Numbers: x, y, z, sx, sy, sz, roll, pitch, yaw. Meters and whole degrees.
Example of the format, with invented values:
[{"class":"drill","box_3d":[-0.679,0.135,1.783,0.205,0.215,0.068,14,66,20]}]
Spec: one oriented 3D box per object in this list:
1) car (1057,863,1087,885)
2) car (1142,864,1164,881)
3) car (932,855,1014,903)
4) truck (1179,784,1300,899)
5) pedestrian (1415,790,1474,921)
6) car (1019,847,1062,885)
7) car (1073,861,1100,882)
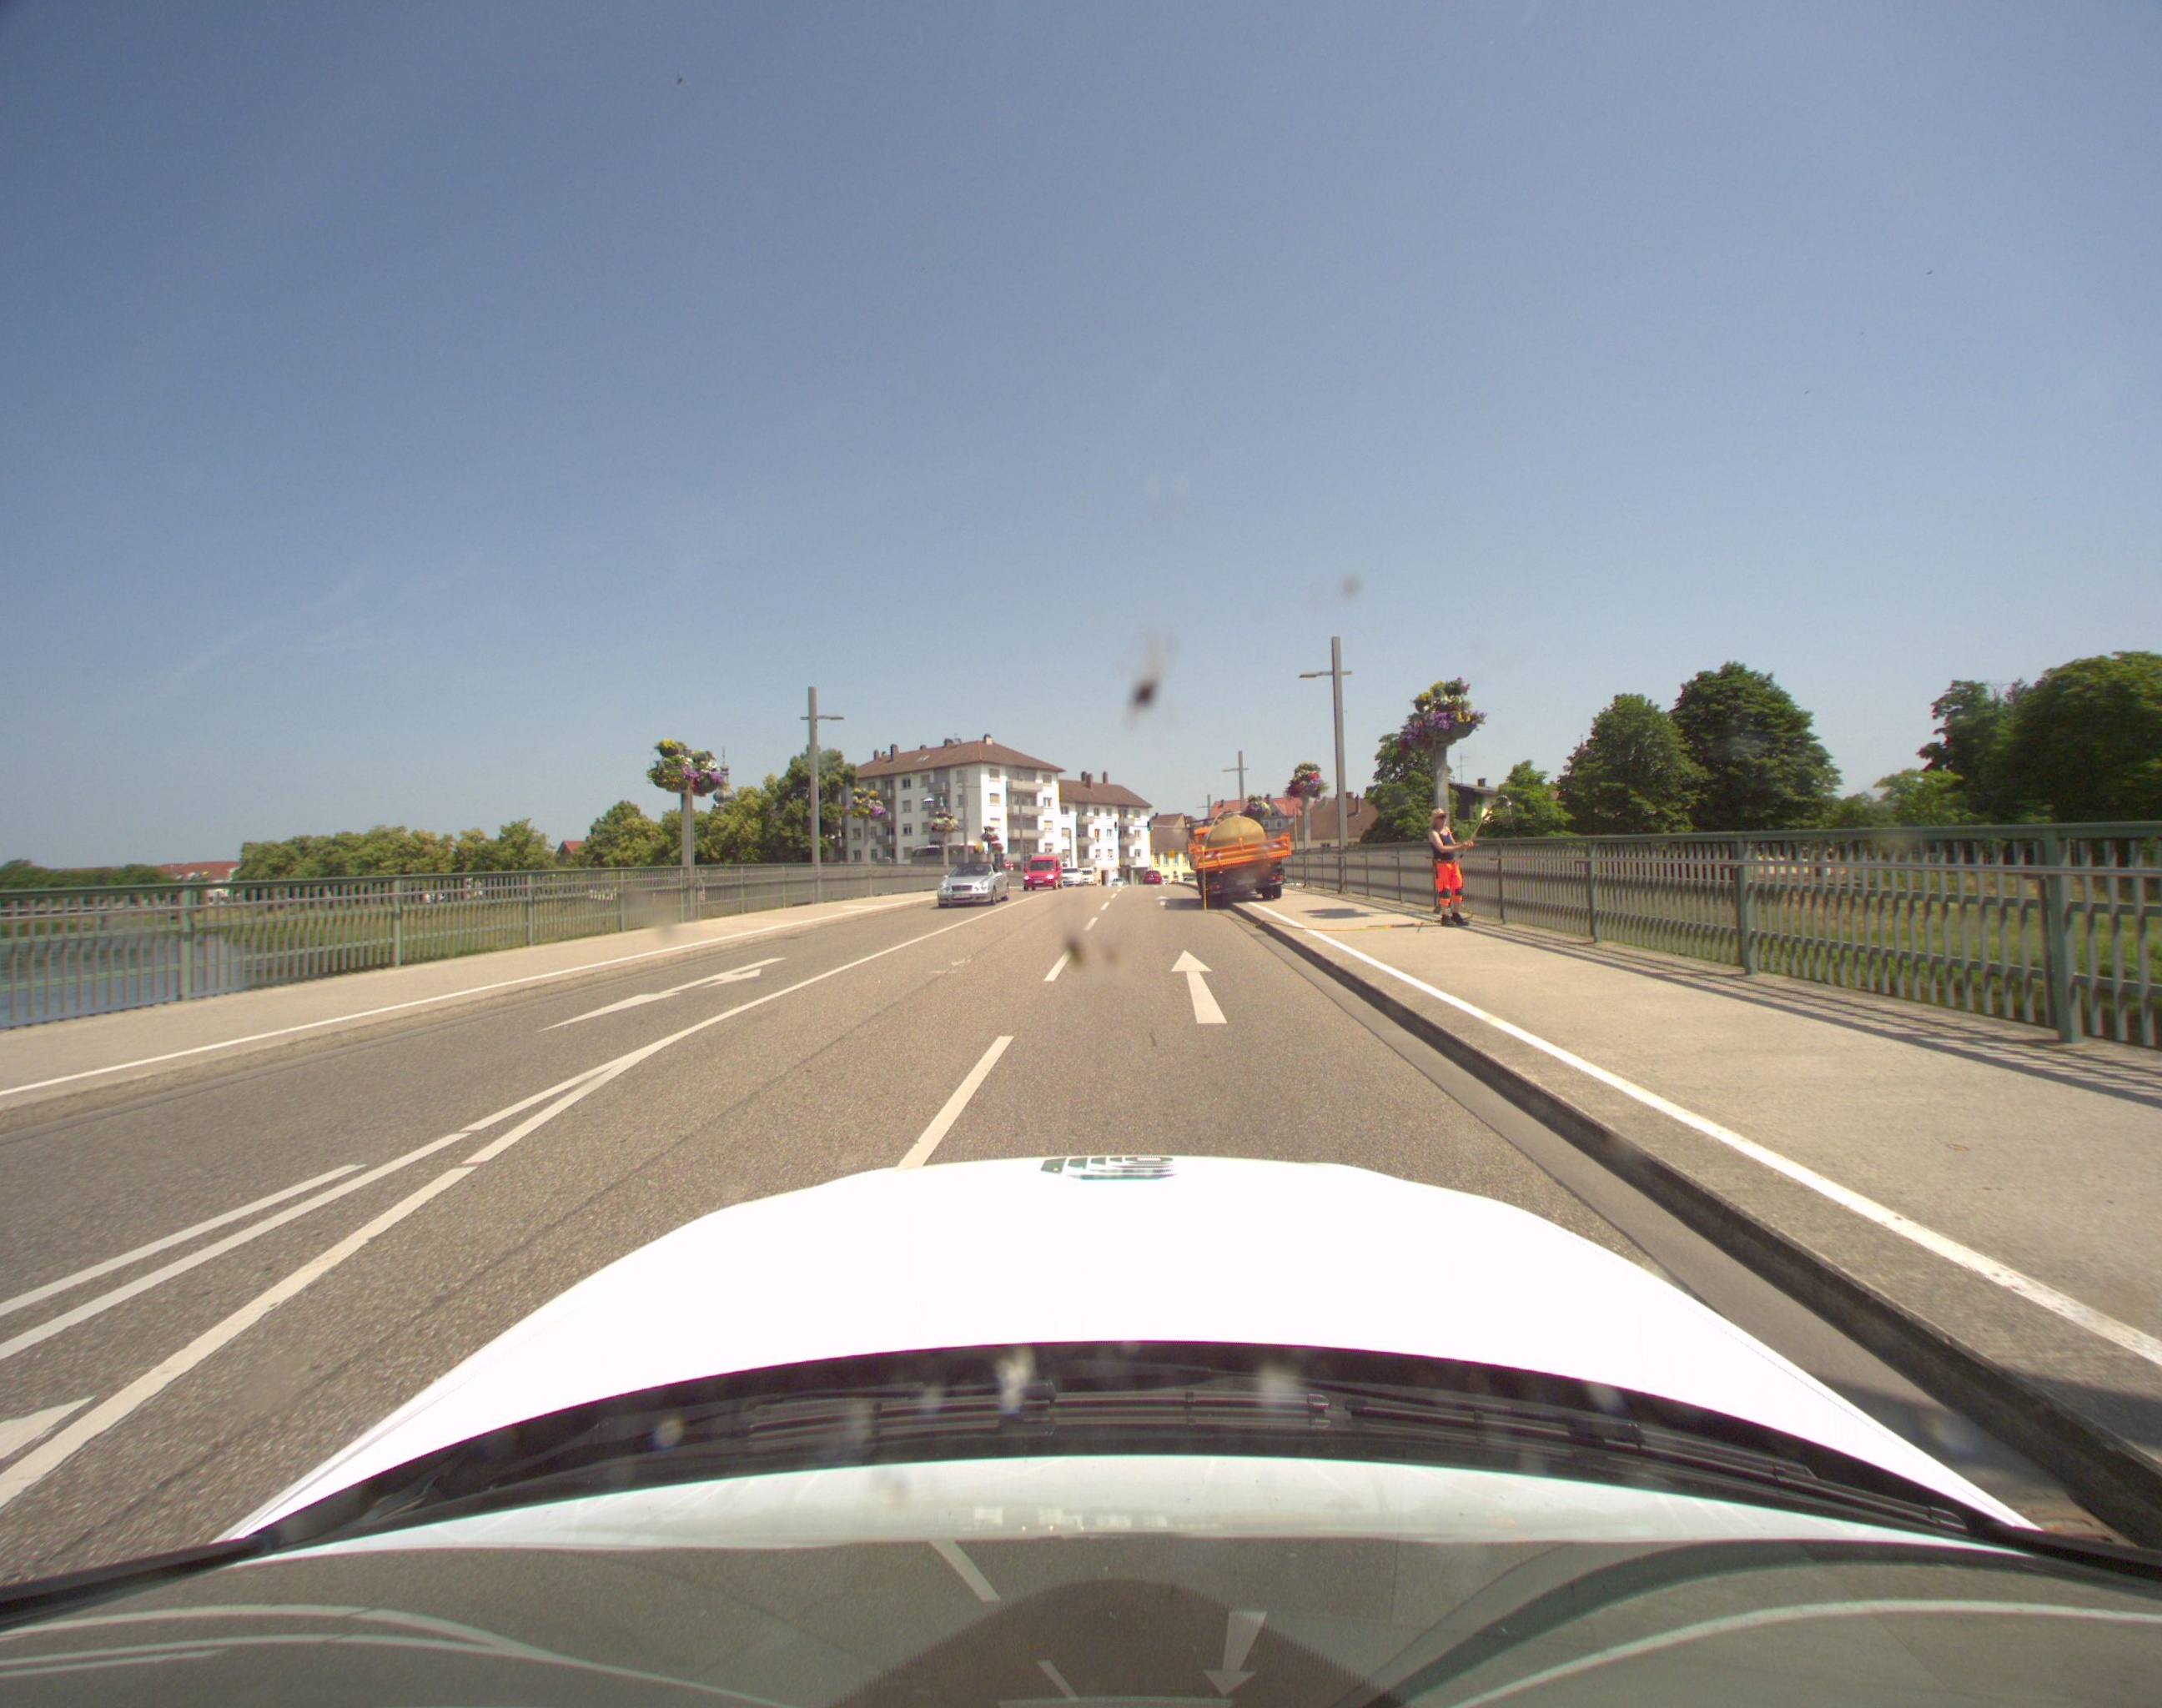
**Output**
[{"class":"car","box_3d":[-0.608,1.407,59.060,1.837,1.432,4.716,-2,-1,2]},{"class":"car","box_3d":[7.398,1.875,83.689,1.982,1.613,4.345,-3,0,3]},{"class":"car","box_3d":[-3.378,0.742,26.324,1.691,1.358,4.461,-3,0,4]},{"class":"truck","box_3d":[4.205,-0.311,22.747,2.593,2.691,5.831,-3,0,5]},{"class":"pedestrian","box_3d":[5.613,0.033,12.575,0.664,1.960,0.552,-3,-1,33]},{"class":"car","box_3d":[-1.994,0.590,41.399,1.729,1.777,4.179,-2,-1,2]},{"class":"car","box_3d":[0.527,1.639,77.437,1.748,1.857,4.661,0,1,11]}]
